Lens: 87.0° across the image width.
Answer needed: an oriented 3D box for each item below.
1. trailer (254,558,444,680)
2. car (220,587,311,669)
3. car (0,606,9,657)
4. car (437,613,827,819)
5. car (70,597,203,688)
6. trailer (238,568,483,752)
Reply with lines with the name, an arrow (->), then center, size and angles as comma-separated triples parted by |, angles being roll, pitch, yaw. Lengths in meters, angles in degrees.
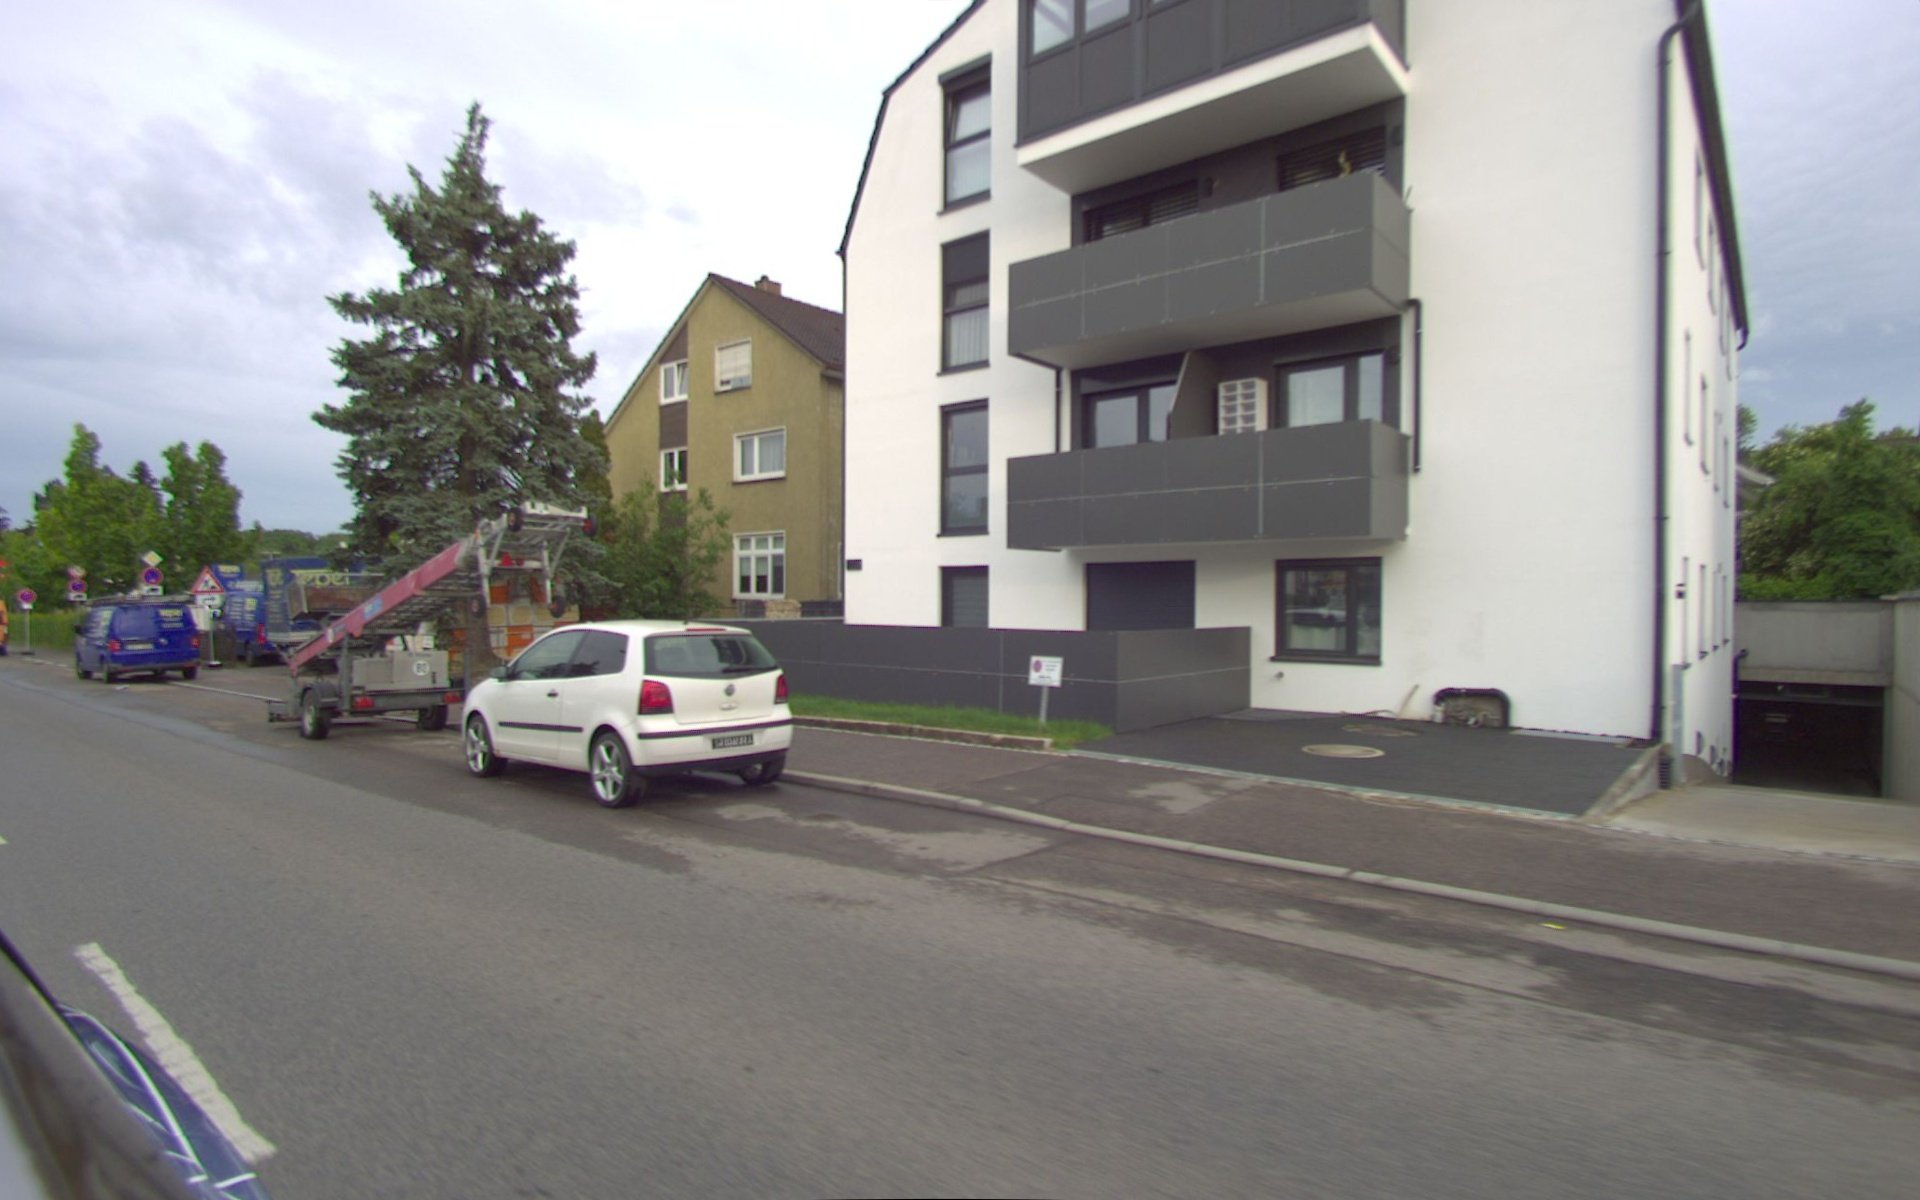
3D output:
trailer -> -16.660, 0.456, 27.716 | 2.167, 3.069, 4.007 | -1, 0, 41
car -> -21.702, 0.859, 31.592 | 3.593, 2.425, 1.549 | -1, -1, 42
car -> -45.614, 1.423, 46.514 | 4.528, 2.306, 2.235 | -1, -3, 41
car -> -3.162, 0.892, 9.375 | 3.869, 1.516, 1.718 | -1, -1, 41
car -> -21.403, 1.051, 26.240 | 4.753, 2.140, 1.972 | -1, -1, 42
trailer -> -8.234, 0.702, 13.763 | 4.005, 2.142, 1.699 | 0, 0, 41
